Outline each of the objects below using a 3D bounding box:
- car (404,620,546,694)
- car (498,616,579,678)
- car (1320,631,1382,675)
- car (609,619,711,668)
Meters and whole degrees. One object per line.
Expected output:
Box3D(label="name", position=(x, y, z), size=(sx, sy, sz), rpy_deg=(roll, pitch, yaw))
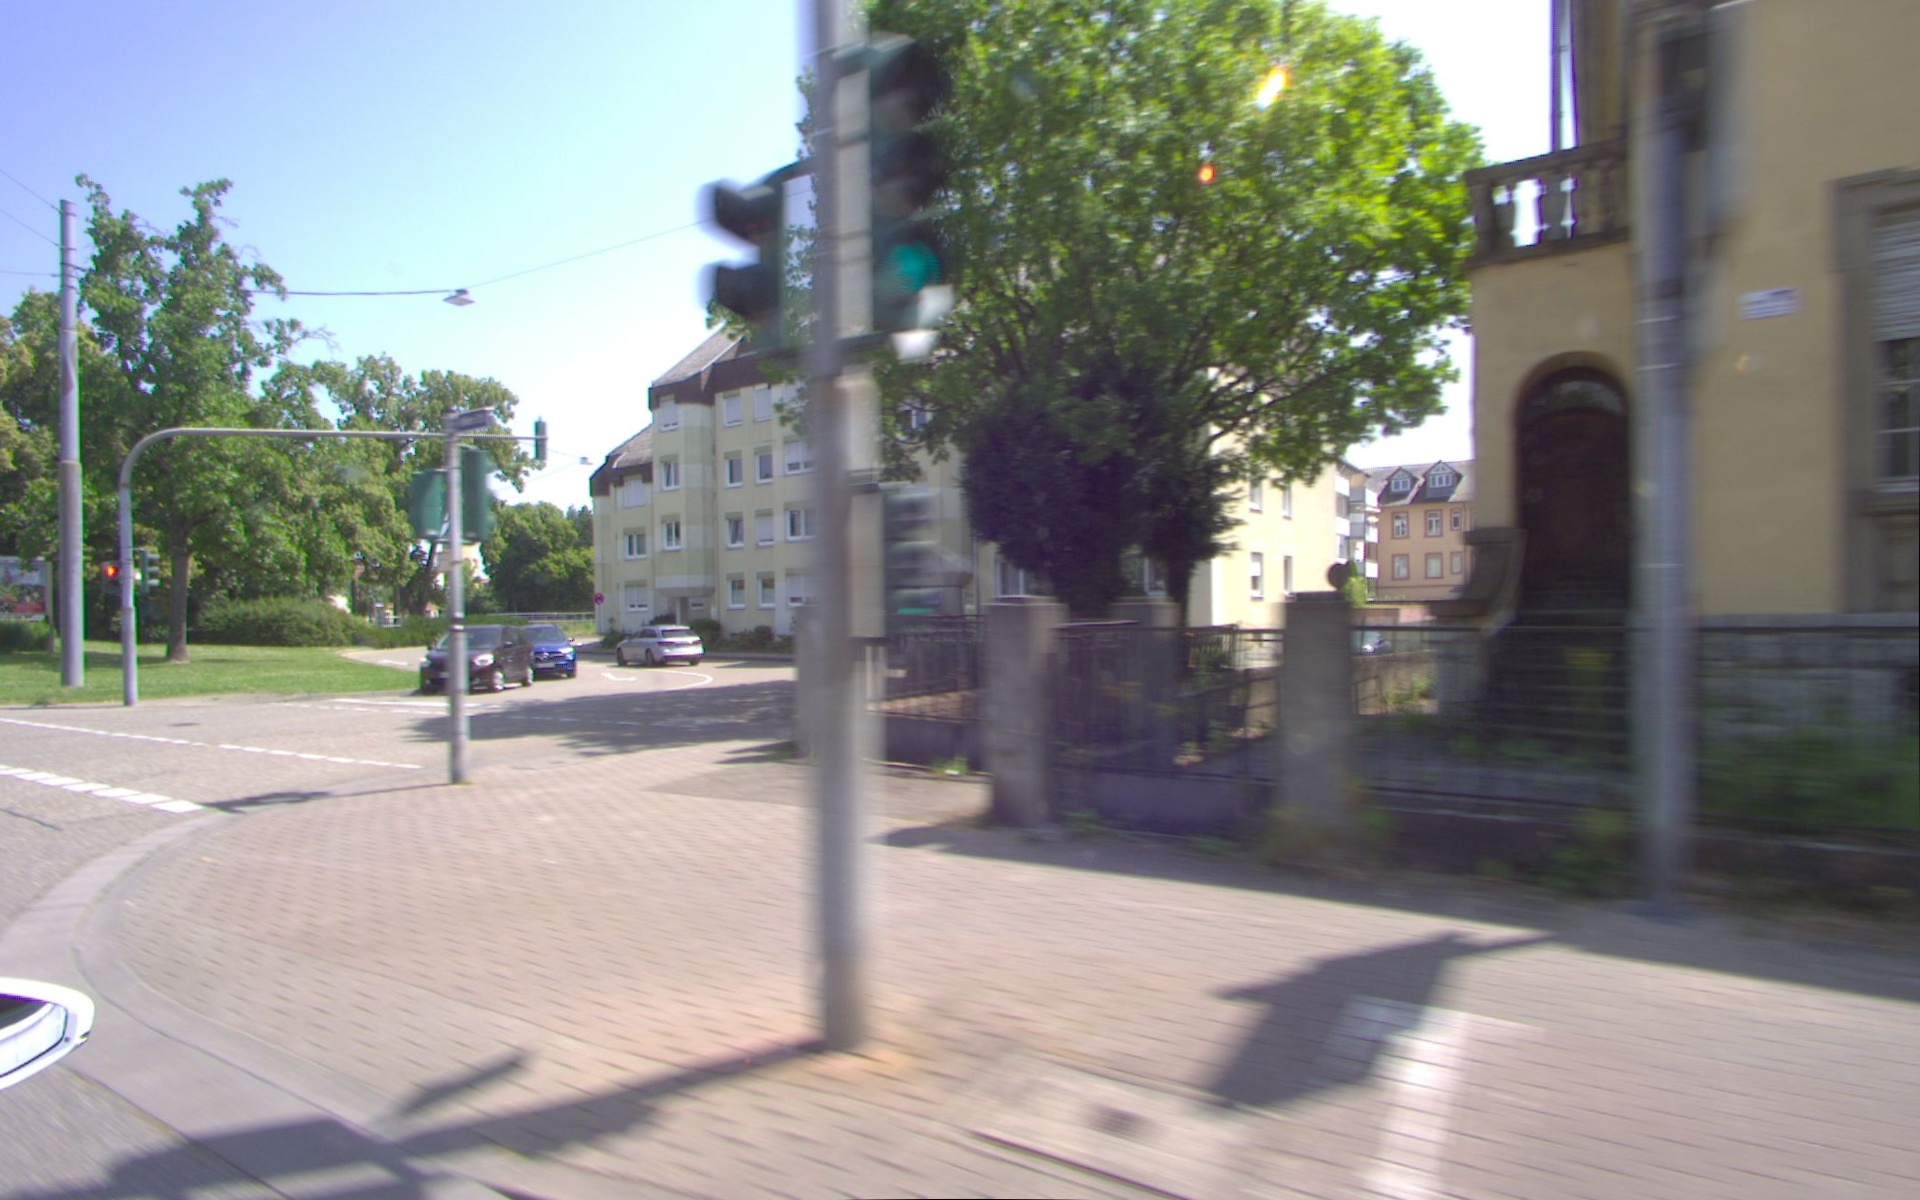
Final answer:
Box3D(label="car", position=(-12.094, 1.364, 25.329), size=(1.881, 1.653, 4.817), rpy_deg=(-1, -1, -9))
Box3D(label="car", position=(-13.239, 1.421, 31.293), size=(1.969, 1.723, 4.749), rpy_deg=(-1, -1, -27))
Box3D(label="car", position=(14.383, 1.905, 36.734), size=(1.388, 1.491, 3.527), rpy_deg=(-1, -2, 34))
Box3D(label="car", position=(-10.732, 1.516, 35.626), size=(1.876, 1.519, 4.494), rpy_deg=(-4, 1, -38))
